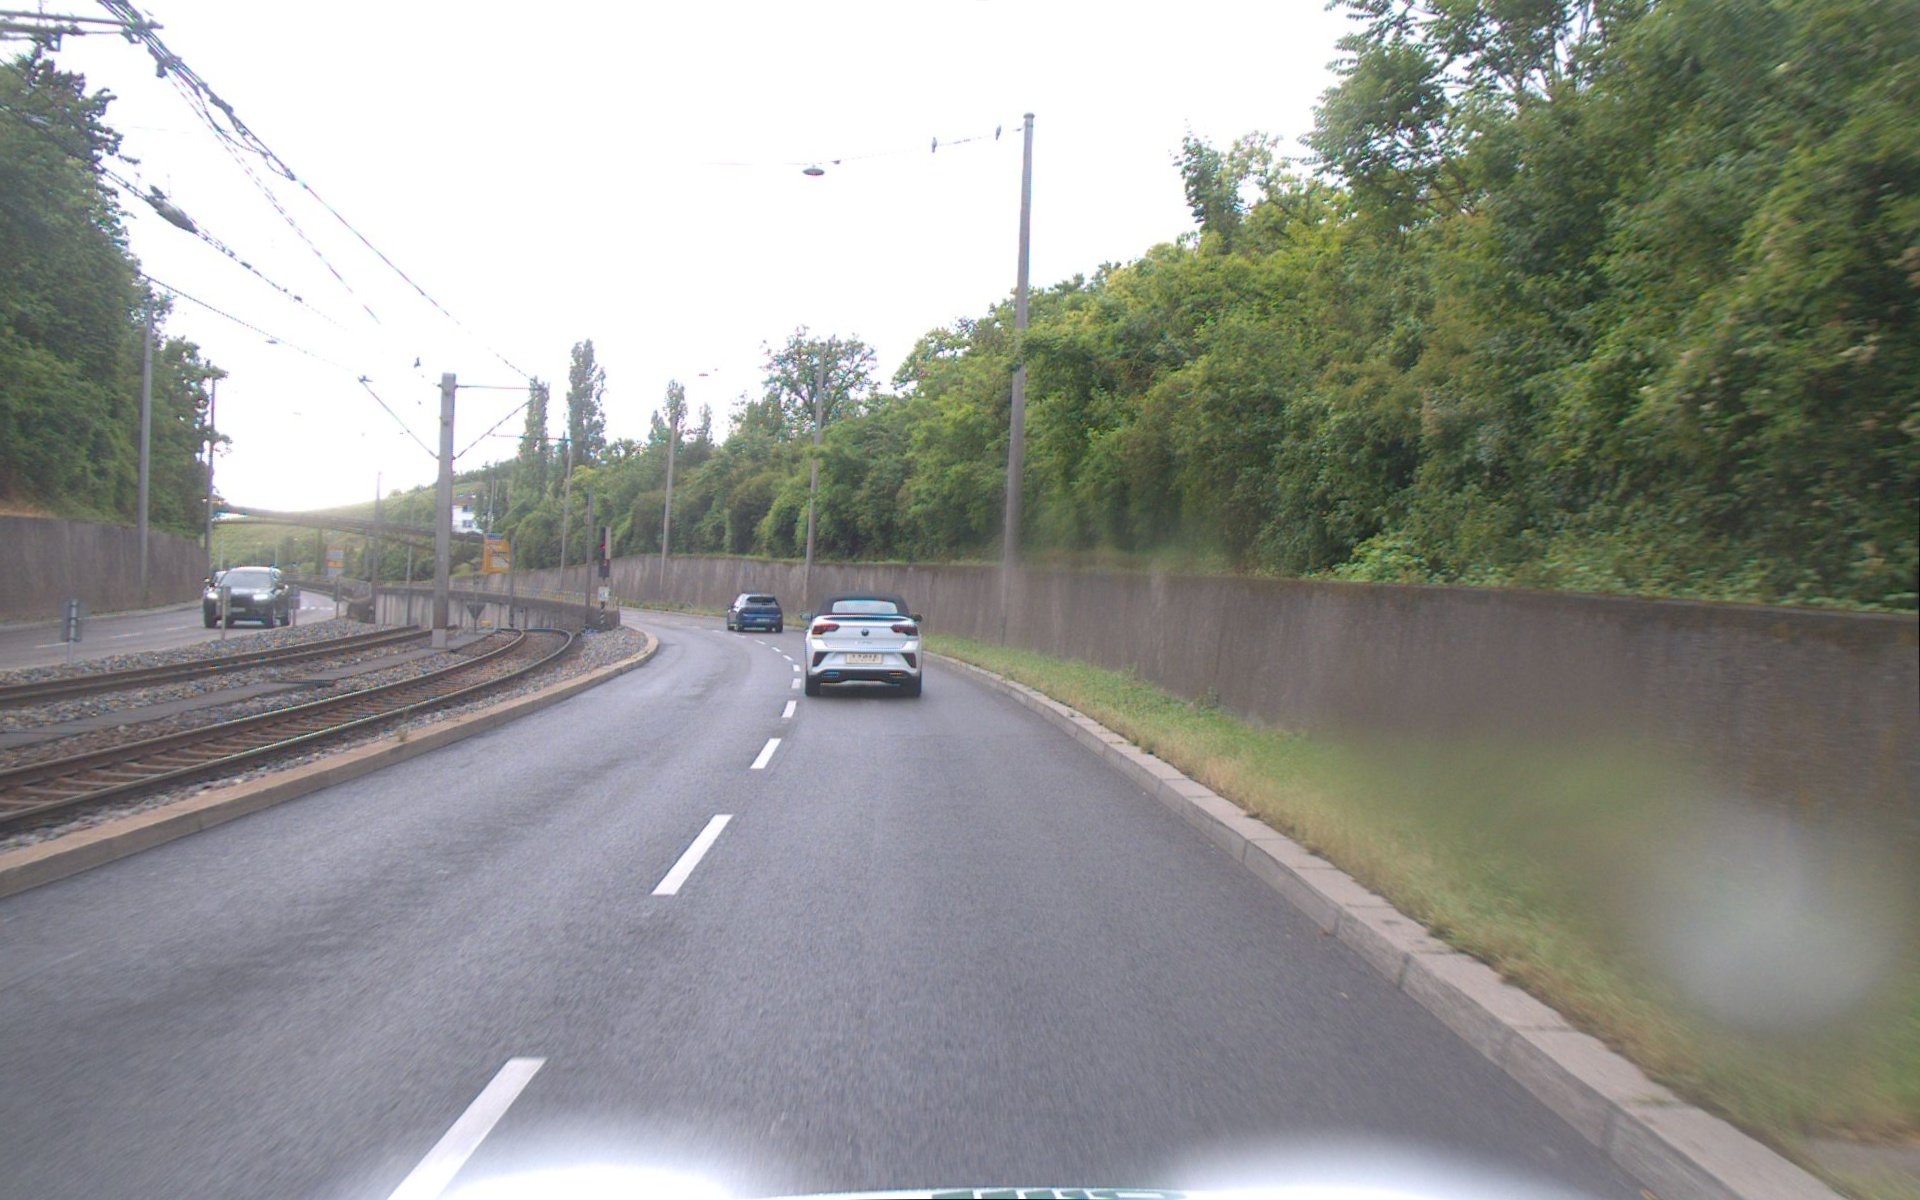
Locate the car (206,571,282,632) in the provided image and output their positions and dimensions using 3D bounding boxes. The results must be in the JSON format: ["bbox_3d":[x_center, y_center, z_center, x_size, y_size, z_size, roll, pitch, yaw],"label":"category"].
[{"bbox_3d":[-22.049,0.023,51.053,1.899,1.818,4.425,0,1,-20],"label":"car"}]

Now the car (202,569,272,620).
[{"bbox_3d":[-30.159,-0.226,69.061,1.959,2.049,3.986,1,0,-14],"label":"car"}]

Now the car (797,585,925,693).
[{"bbox_3d":[-1.498,0.560,26.034,1.833,1.551,4.538,0,0,-2],"label":"car"}]

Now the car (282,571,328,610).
[{"bbox_3d":[-31.132,-0.455,78.740,1.899,1.818,4.425,0,1,-20],"label":"car"}]

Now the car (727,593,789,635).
[{"bbox_3d":[-7.847,0.530,64.047,1.735,1.527,3.982,1,0,-16],"label":"car"}]
